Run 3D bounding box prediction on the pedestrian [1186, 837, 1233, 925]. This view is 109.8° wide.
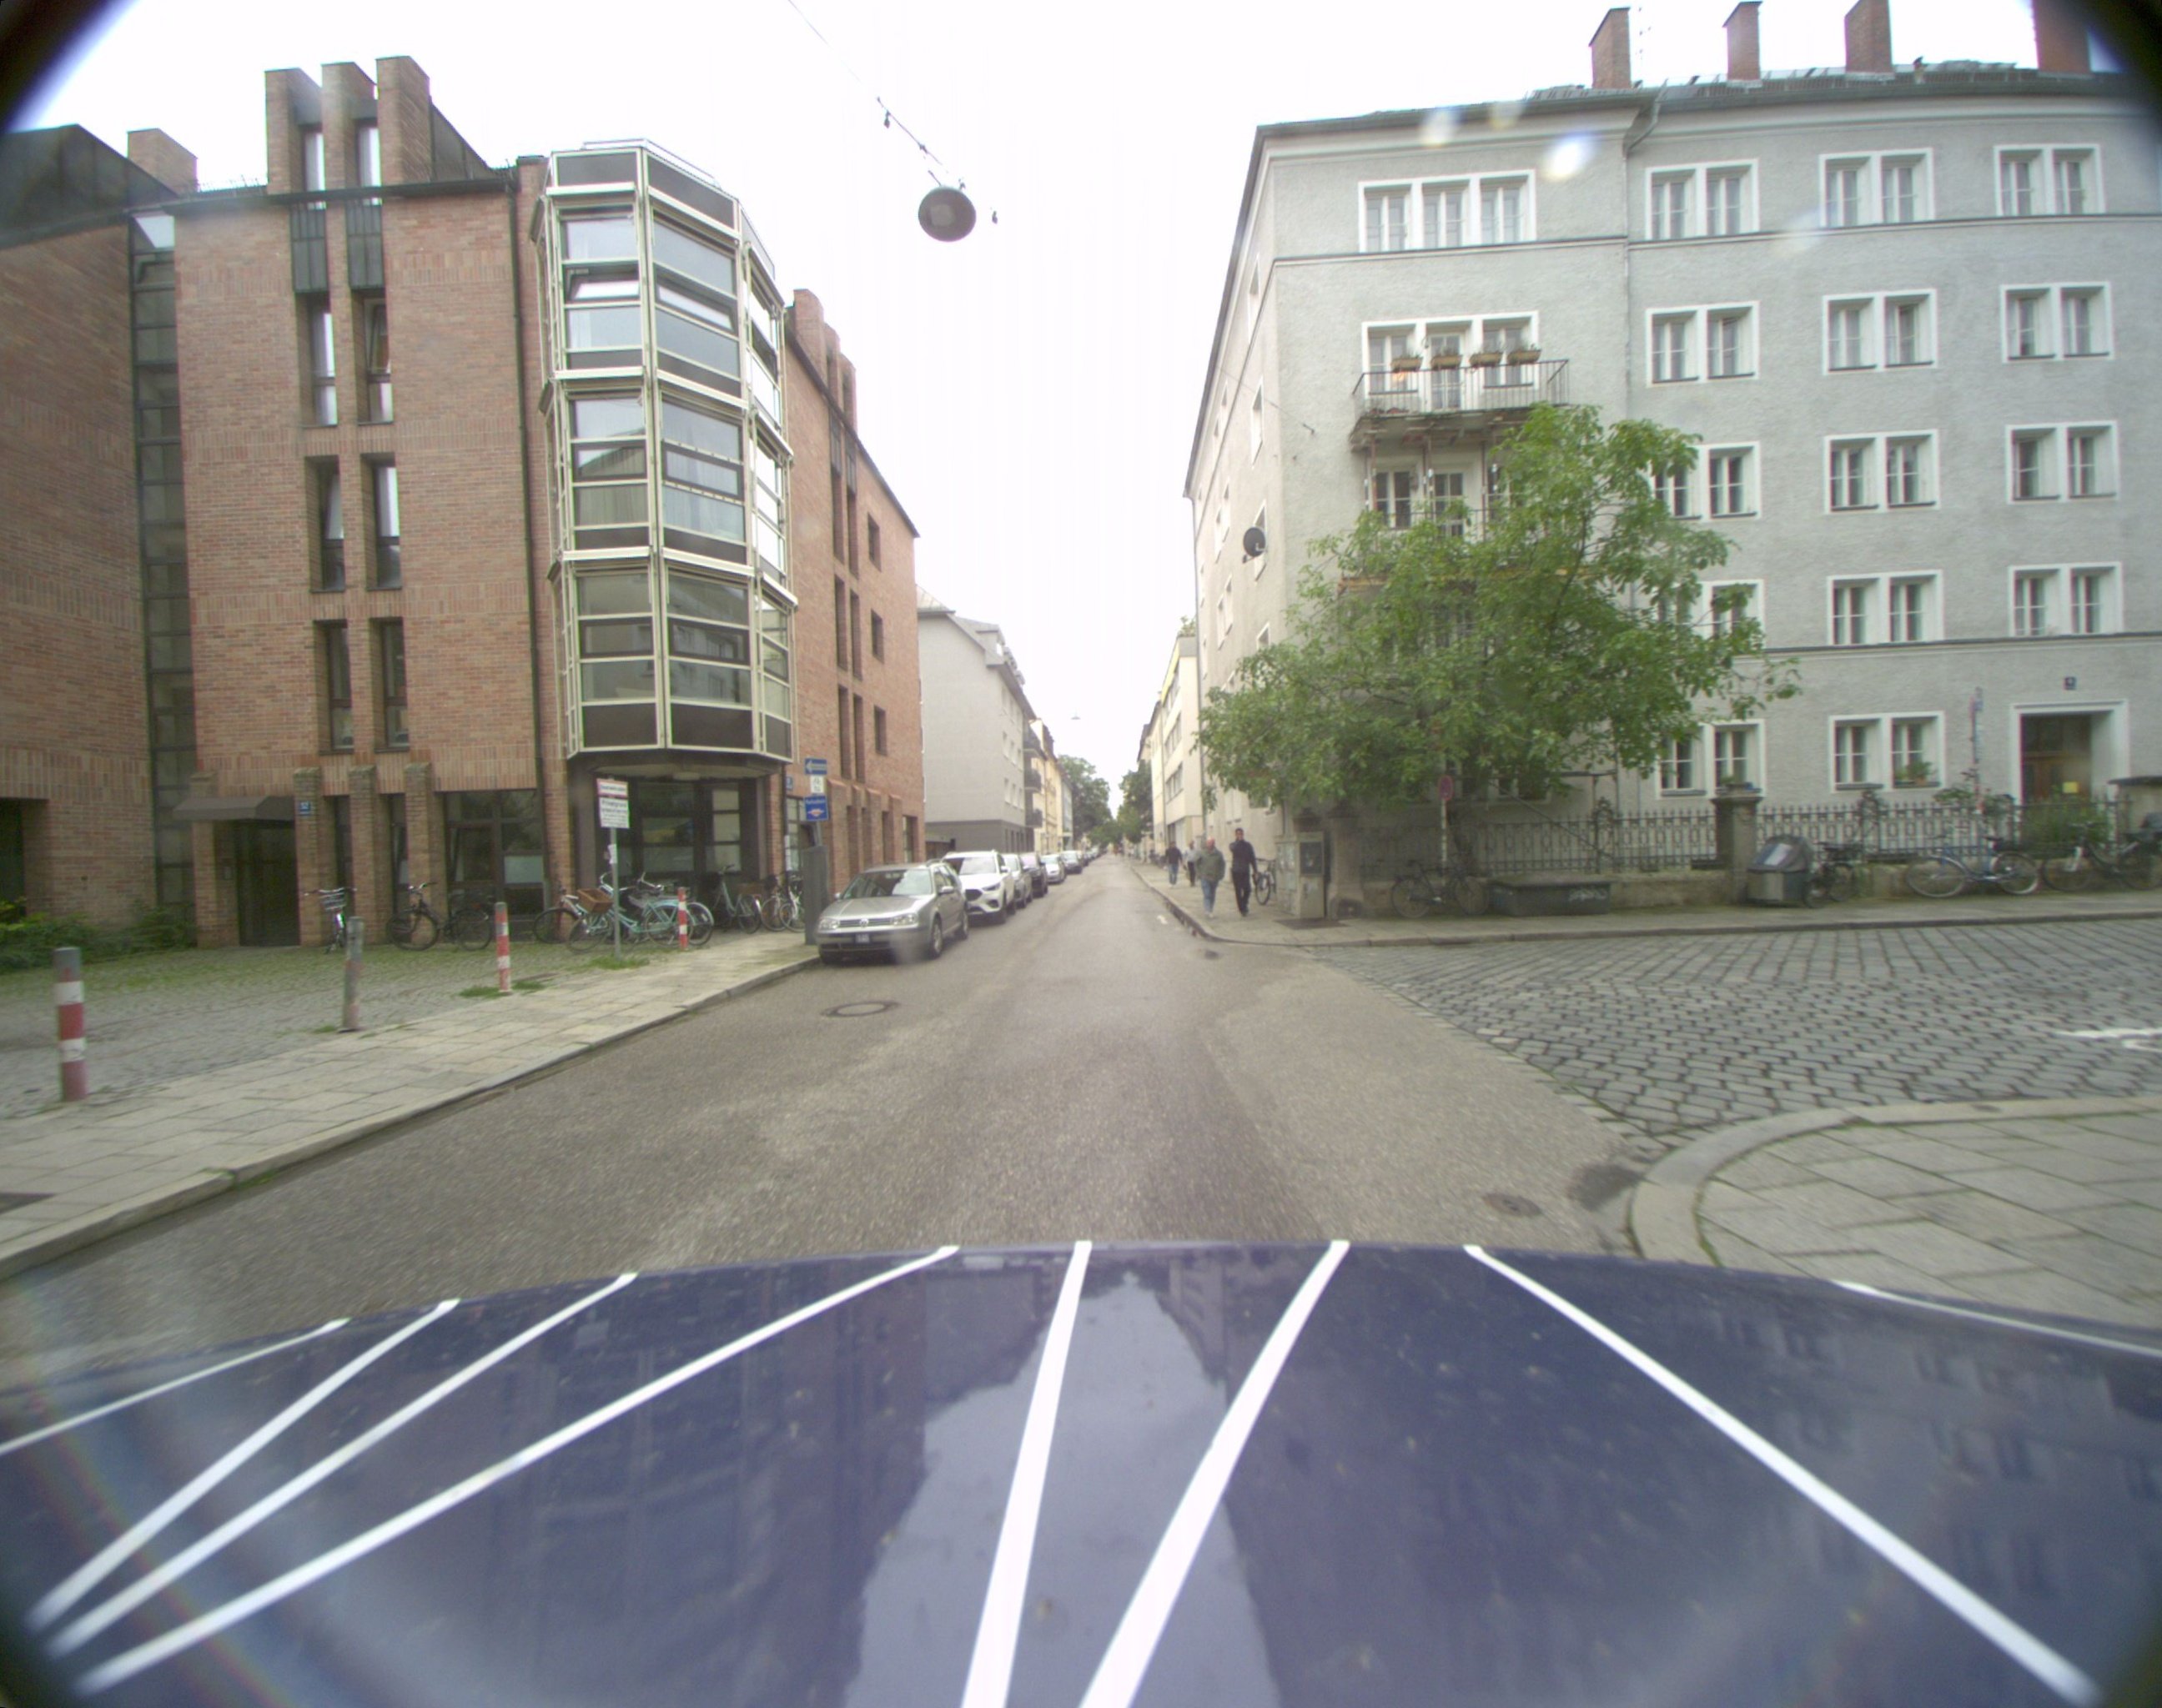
[{"bbox_3d":[2.566,0.529,15.209,0.691,1.668,0.859,-4,1,1],"label":"pedestrian"}]

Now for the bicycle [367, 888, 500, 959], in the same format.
[{"bbox_3d":[-10.307,1.096,12.098,1.884,1.066,0.443,-1,1,8],"label":"bicycle"}]

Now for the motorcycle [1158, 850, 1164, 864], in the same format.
[{"bbox_3d":[5.756,0.230,54.613,0.324,0.968,1.961,-3,1,3],"label":"motorcycle"}]

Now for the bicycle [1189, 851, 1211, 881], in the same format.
[{"bbox_3d":[4.885,0.466,31.197,0.450,1.187,1.498,-3,1,-7],"label":"bicycle"}]

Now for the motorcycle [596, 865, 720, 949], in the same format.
[{"bbox_3d":[-7.241,0.893,13.054,1.765,1.377,0.552,0,1,-3],"label":"motorcycle"}]

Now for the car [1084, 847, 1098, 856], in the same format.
[{"bbox_3d":[1.544,-0.360,116.100,1.998,1.259,4.000,-3,1,3],"label":"car"}]

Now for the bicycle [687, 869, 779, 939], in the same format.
[{"bbox_3d":[-6.622,0.912,14.432,1.872,1.222,0.594,0,2,32],"label":"bicycle"}]

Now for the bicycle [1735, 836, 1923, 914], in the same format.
[{"bbox_3d":[12.214,0.317,12.429,2.488,1.149,0.991,-2,1,-12],"label":"bicycle"}]

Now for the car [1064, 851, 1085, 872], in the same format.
[{"bbox_3d":[-0.427,0.469,51.880,1.190,1.312,2.780,-3,1,3],"label":"car"}]

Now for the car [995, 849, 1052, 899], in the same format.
[{"bbox_3d":[-2.014,0.657,27.686,1.619,1.570,4.051,-3,1,1],"label":"car"}]

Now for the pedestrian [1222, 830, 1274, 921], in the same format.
[{"bbox_3d":[3.367,0.428,15.373,0.692,1.753,0.741,-5,1,-8],"label":"pedestrian"}]

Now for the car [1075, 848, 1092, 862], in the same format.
[{"bbox_3d":[0.315,0.092,77.533,1.525,1.259,3.210,-3,1,3],"label":"car"}]

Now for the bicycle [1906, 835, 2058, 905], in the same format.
[{"bbox_3d":[14.884,0.257,12.579,1.852,1.098,0.412,-1,1,6],"label":"bicycle"}]

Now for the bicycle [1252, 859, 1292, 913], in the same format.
[{"bbox_3d":[4.238,0.675,16.952,0.432,1.089,1.703,-4,1,1],"label":"bicycle"}]

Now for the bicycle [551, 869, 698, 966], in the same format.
[{"bbox_3d":[-6.915,0.935,11.618,1.807,1.315,0.586,-2,2,-23],"label":"bicycle"}]

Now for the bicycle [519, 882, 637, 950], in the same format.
[{"bbox_3d":[-8.335,1.029,12.608,1.752,1.066,0.443,-1,1,8],"label":"bicycle"}]

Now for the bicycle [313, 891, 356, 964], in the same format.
[{"bbox_3d":[-12.175,1.172,12.382,0.443,1.066,1.422,-3,1,-45],"label":"bicycle"}]

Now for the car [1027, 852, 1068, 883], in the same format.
[{"bbox_3d":[-1.595,0.629,37.552,1.619,1.369,3.817,-3,1,3],"label":"car"}]

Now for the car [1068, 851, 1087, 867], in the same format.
[{"bbox_3d":[-0.274,0.395,62.681,1.351,1.259,3.037,-3,1,3],"label":"car"}]

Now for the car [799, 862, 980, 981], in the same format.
[{"bbox_3d":[-2.871,0.939,12.435,1.725,1.427,4.358,-3,1,1],"label":"car"}]

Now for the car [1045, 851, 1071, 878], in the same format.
[{"bbox_3d":[-1.272,0.579,42.848,1.154,1.368,2.685,-3,1,3],"label":"car"}]

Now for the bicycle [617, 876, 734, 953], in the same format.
[{"bbox_3d":[-6.564,0.962,12.319,1.752,1.180,0.443,1,1,8],"label":"bicycle"}]

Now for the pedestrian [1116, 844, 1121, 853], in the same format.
[{"bbox_3d":[7.594,-1.169,154.469,0.696,1.834,0.692,-3,1,21],"label":"pedestrian"}]

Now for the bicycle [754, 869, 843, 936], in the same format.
[{"bbox_3d":[-5.745,0.960,15.564,0.741,1.210,1.782,-1,1,17],"label":"bicycle"}]

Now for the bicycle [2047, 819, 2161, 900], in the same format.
[{"bbox_3d":[17.044,0.085,12.403,1.852,1.266,0.412,-1,1,6],"label":"bicycle"}]

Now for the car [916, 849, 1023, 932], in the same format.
[{"bbox_3d":[-2.485,0.746,17.990,1.725,1.606,4.454,-3,1,1],"label":"car"}]

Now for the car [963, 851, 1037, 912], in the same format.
[{"bbox_3d":[-2.295,0.735,22.417,1.619,1.549,3.807,-3,1,1],"label":"car"}]

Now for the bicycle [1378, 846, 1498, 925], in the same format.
[{"bbox_3d":[6.072,0.526,12.950,1.811,1.254,0.432,-2,1,1],"label":"bicycle"}]

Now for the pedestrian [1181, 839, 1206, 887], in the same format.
[{"bbox_3d":[4.196,0.316,28.388,0.695,1.718,0.841,-6,1,3],"label":"pedestrian"}]

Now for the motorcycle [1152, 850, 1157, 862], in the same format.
[{"bbox_3d":[6.192,0.168,64.201,0.324,0.968,1.961,-3,1,3],"label":"motorcycle"}]

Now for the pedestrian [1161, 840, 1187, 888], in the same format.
[{"bbox_3d":[3.477,0.373,28.426,0.721,1.718,0.841,-6,1,3],"label":"pedestrian"}]

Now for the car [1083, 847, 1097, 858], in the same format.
[{"bbox_3d":[1.147,-0.153,98.190,1.556,1.281,3.538,-3,1,3],"label":"car"}]
